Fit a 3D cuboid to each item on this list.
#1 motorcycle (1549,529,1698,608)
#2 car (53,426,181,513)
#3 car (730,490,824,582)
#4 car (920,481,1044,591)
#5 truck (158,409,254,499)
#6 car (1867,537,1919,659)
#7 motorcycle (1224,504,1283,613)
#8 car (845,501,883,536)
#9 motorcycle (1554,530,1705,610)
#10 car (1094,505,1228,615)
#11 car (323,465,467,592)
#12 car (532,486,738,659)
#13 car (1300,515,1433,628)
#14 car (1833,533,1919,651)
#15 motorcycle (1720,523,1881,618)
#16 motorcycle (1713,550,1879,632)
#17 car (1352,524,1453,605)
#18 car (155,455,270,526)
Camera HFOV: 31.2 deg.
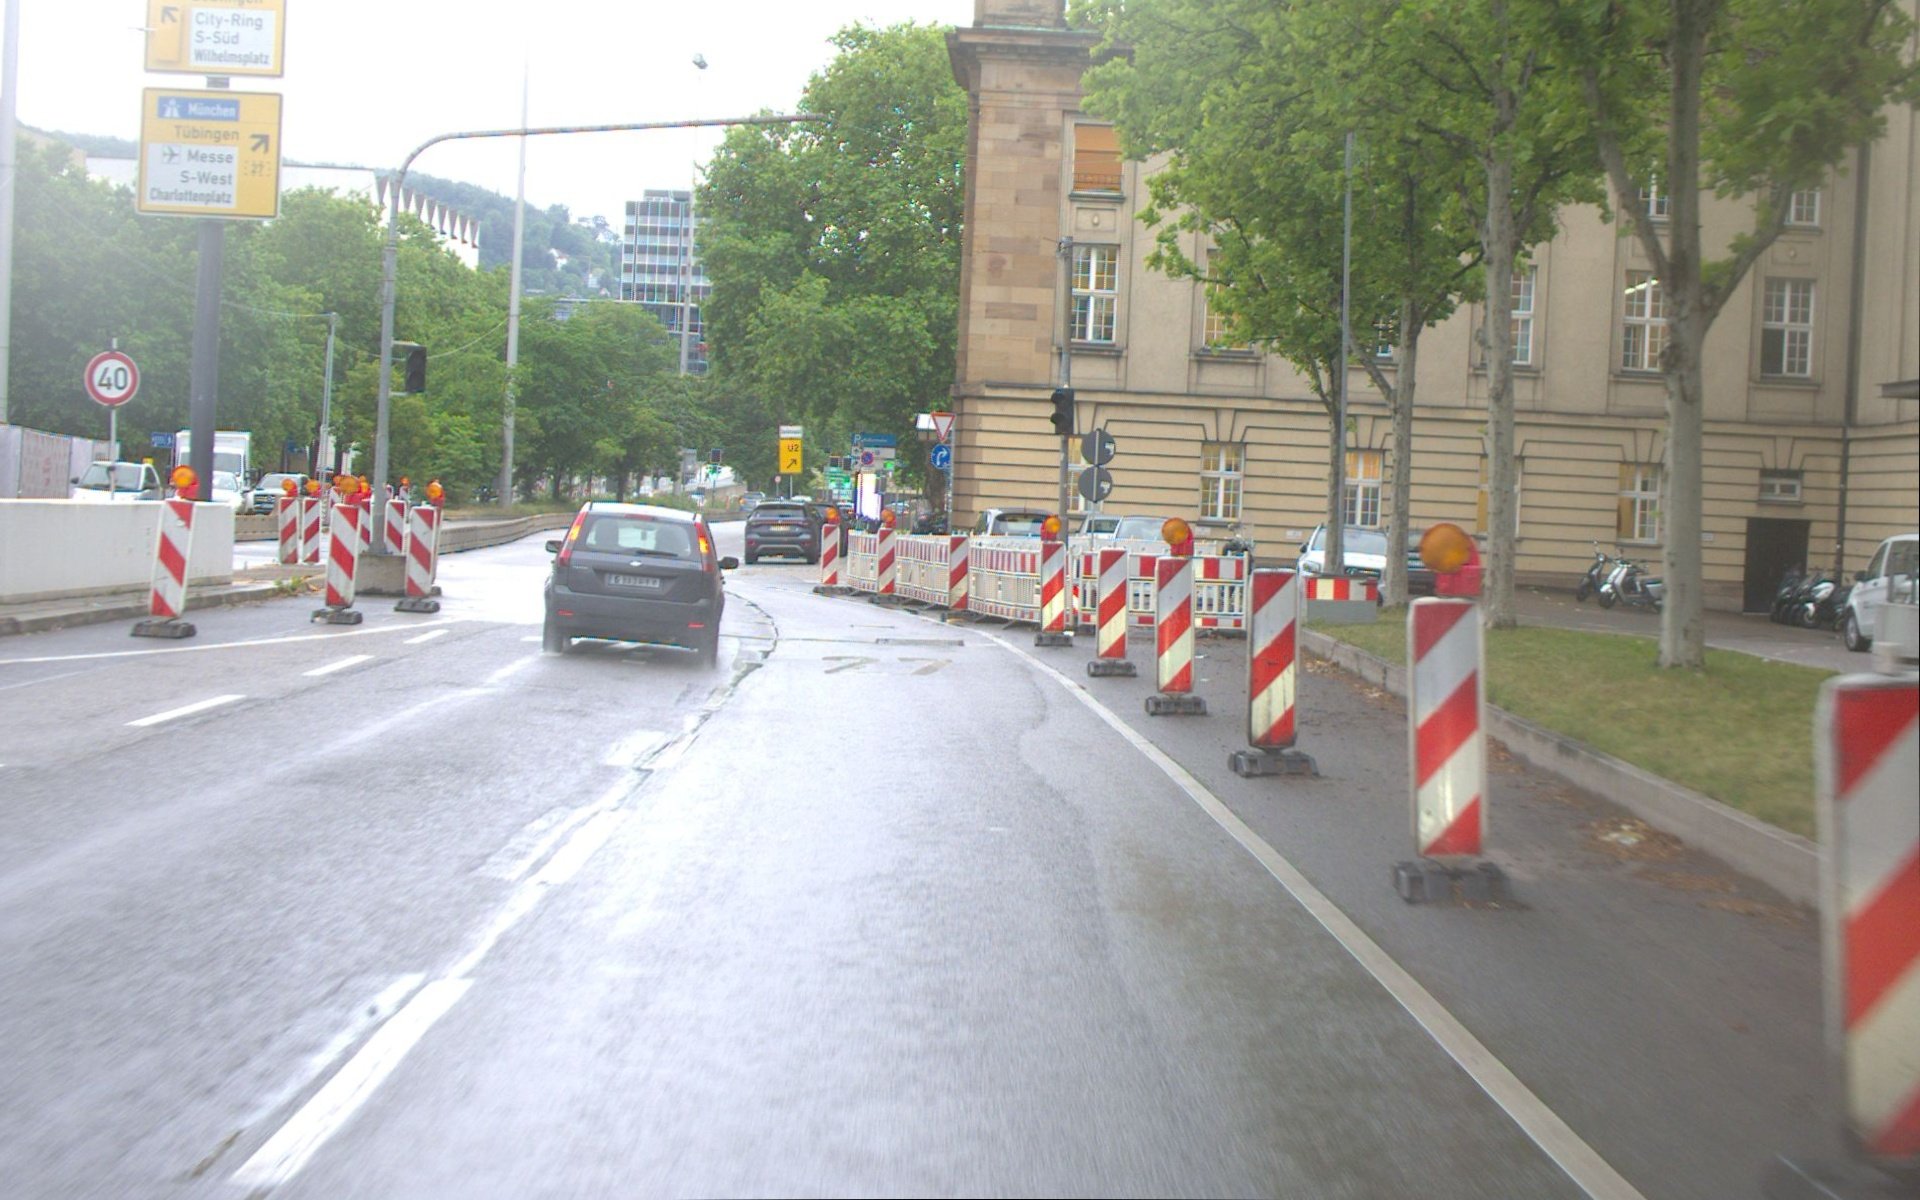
[{"bbox_3d":[15.315,-0.719,79.386,3.162,1.537,0.889,5,0,4],"label":"motorcycle"},{"bbox_3d":[-17.388,-2.674,71.082,1.668,1.516,4.000,5,0,-2],"label":"car"},{"bbox_3d":[-4.464,-1.592,84.366,1.993,2.006,4.001,4,2,-1],"label":"car"},{"bbox_3d":[0.356,-1.161,61.021,1.993,1.702,4.001,4,2,-1],"label":"car"},{"bbox_3d":[-22.557,-4.338,102.982,2.412,2.331,5.446,5,0,-10],"label":"truck"},{"bbox_3d":[14.284,0.044,45.513,3.987,1.554,1.933,2,-1,0],"label":"car"},{"bbox_3d":[5.155,-0.748,60.570,0.831,1.823,3.143,3,2,3],"label":"motorcycle"},{"bbox_3d":[-6.138,-5.196,218.995,1.993,2.007,4.001,5,0,-5],"label":"car"},{"bbox_3d":[15.252,-0.685,78.360,3.162,1.537,0.889,5,0,3],"label":"motorcycle"},{"bbox_3d":[3.579,-0.751,61.930,1.993,1.702,4.001,4,2,-1],"label":"car"},{"bbox_3d":[-6.650,-0.850,40.653,1.385,1.381,3.068,2,1,-5],"label":"car"},{"bbox_3d":[-3.074,-0.303,33.154,1.670,1.422,3.758,5,1,-3],"label":"car"},{"bbox_3d":[7.084,-0.534,60.273,1.994,1.702,4.000,5,2,4],"label":"car"},{"bbox_3d":[15.261,-0.083,53.460,1.993,1.754,5.097,3,0,0],"label":"car"},{"bbox_3d":[19.538,-0.673,79.973,3.350,2.007,1.152,3,0,2],"label":"motorcycle"},{"bbox_3d":[18.862,-0.193,77.608,3.350,1.526,1.152,5,0,2],"label":"motorcycle"},{"bbox_3d":[10.421,-0.829,81.127,1.994,1.703,3.999,5,0,4],"label":"car"},{"bbox_3d":[-18.634,-2.708,85.868,1.993,1.474,4.000,5,0,-2],"label":"car"}]
